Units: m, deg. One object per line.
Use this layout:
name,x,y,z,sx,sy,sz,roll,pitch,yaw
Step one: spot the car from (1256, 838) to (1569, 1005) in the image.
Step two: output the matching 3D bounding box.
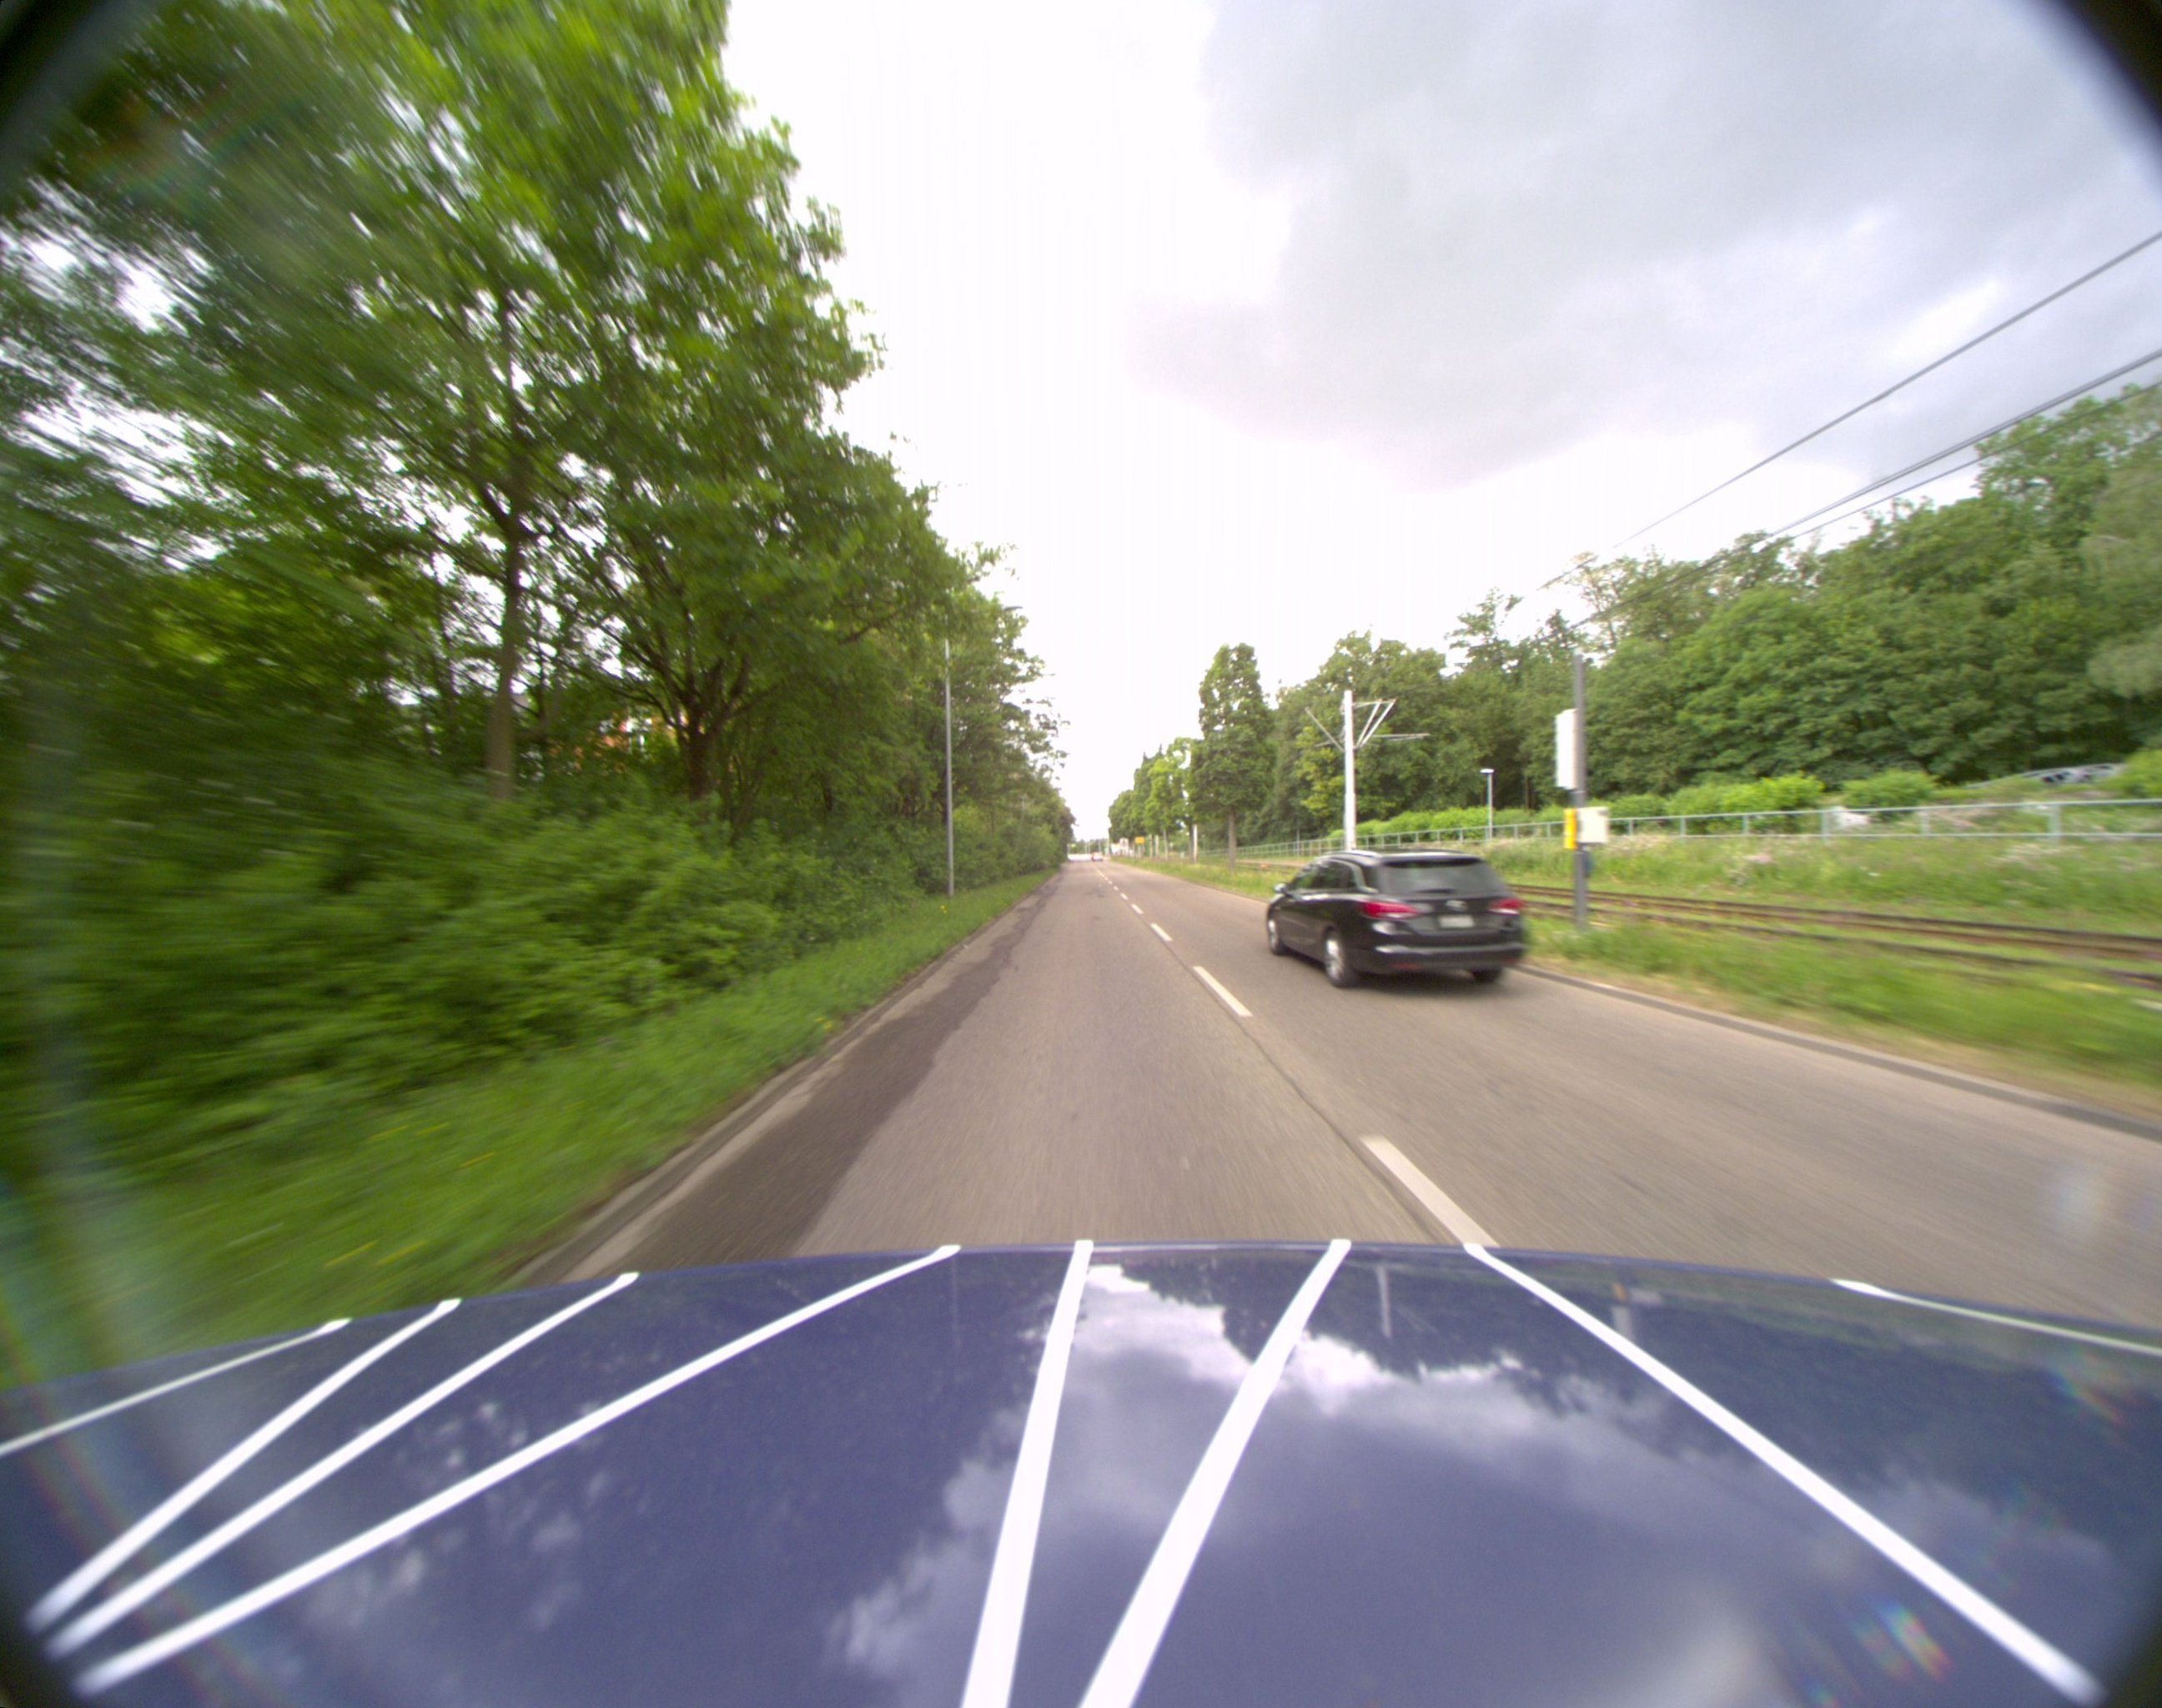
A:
car,3.491,0.596,8.993,1.855,1.462,4.255,-2,1,1

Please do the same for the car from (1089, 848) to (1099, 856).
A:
car,2.410,-0.373,141.091,1.779,1.460,4.241,-2,1,1
